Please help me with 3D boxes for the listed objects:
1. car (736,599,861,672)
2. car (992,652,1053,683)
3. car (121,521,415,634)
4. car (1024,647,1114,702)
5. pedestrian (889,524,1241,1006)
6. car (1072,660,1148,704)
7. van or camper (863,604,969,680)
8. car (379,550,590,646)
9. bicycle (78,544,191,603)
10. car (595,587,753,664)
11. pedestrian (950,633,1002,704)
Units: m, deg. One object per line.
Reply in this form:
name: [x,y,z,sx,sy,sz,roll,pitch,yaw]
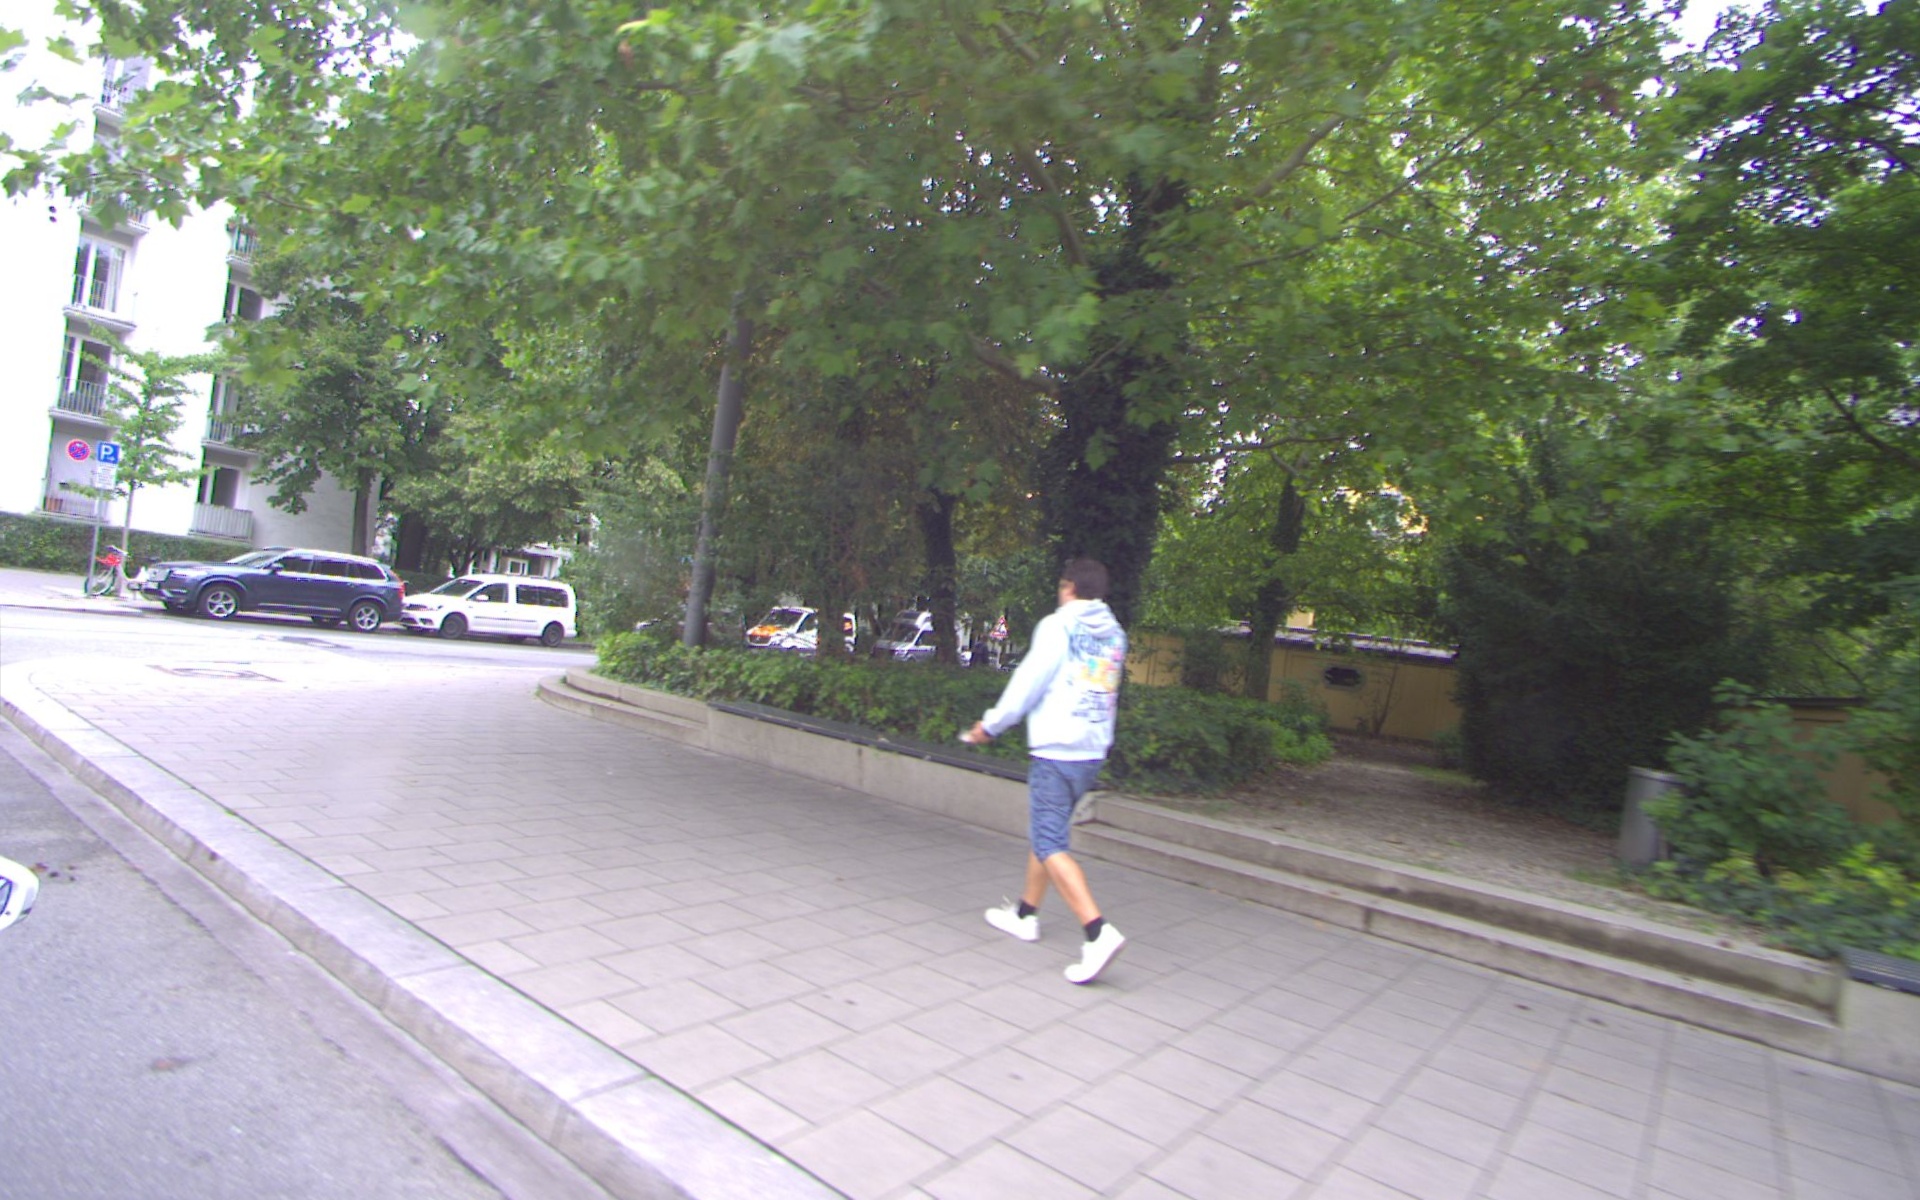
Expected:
car: [-6.217,1.465,39.446,1.919,2.298,5.242,5,-3,28]
car: [3.572,3.869,57.022,1.848,1.362,3.999,6,-3,28]
car: [-15.197,-0.412,22.428,1.967,1.811,4.909,5,-3,30]
car: [4.483,3.052,40.727,1.963,1.859,4.713,5,-3,27]
pedestrian: [0.461,0.635,4.427,1.038,1.791,0.873,6,-2,42]
car: [6.822,3.735,45.398,1.963,1.627,4.322,5,-3,27]
van or camper: [-1.970,2.047,47.295,1.973,2.978,6.009,5,-3,28]
car: [-12.653,0.028,27.123,1.804,1.940,4.846,5,-3,29]
bicycle: [-18.221,-0.574,22.257,0.483,1.061,1.831,7,-2,24]
car: [-9.289,0.910,33.196,1.860,1.955,5.209,5,-3,26]
pedestrian: [0.449,1.927,28.189,0.862,1.852,1.051,6,-1,29]
